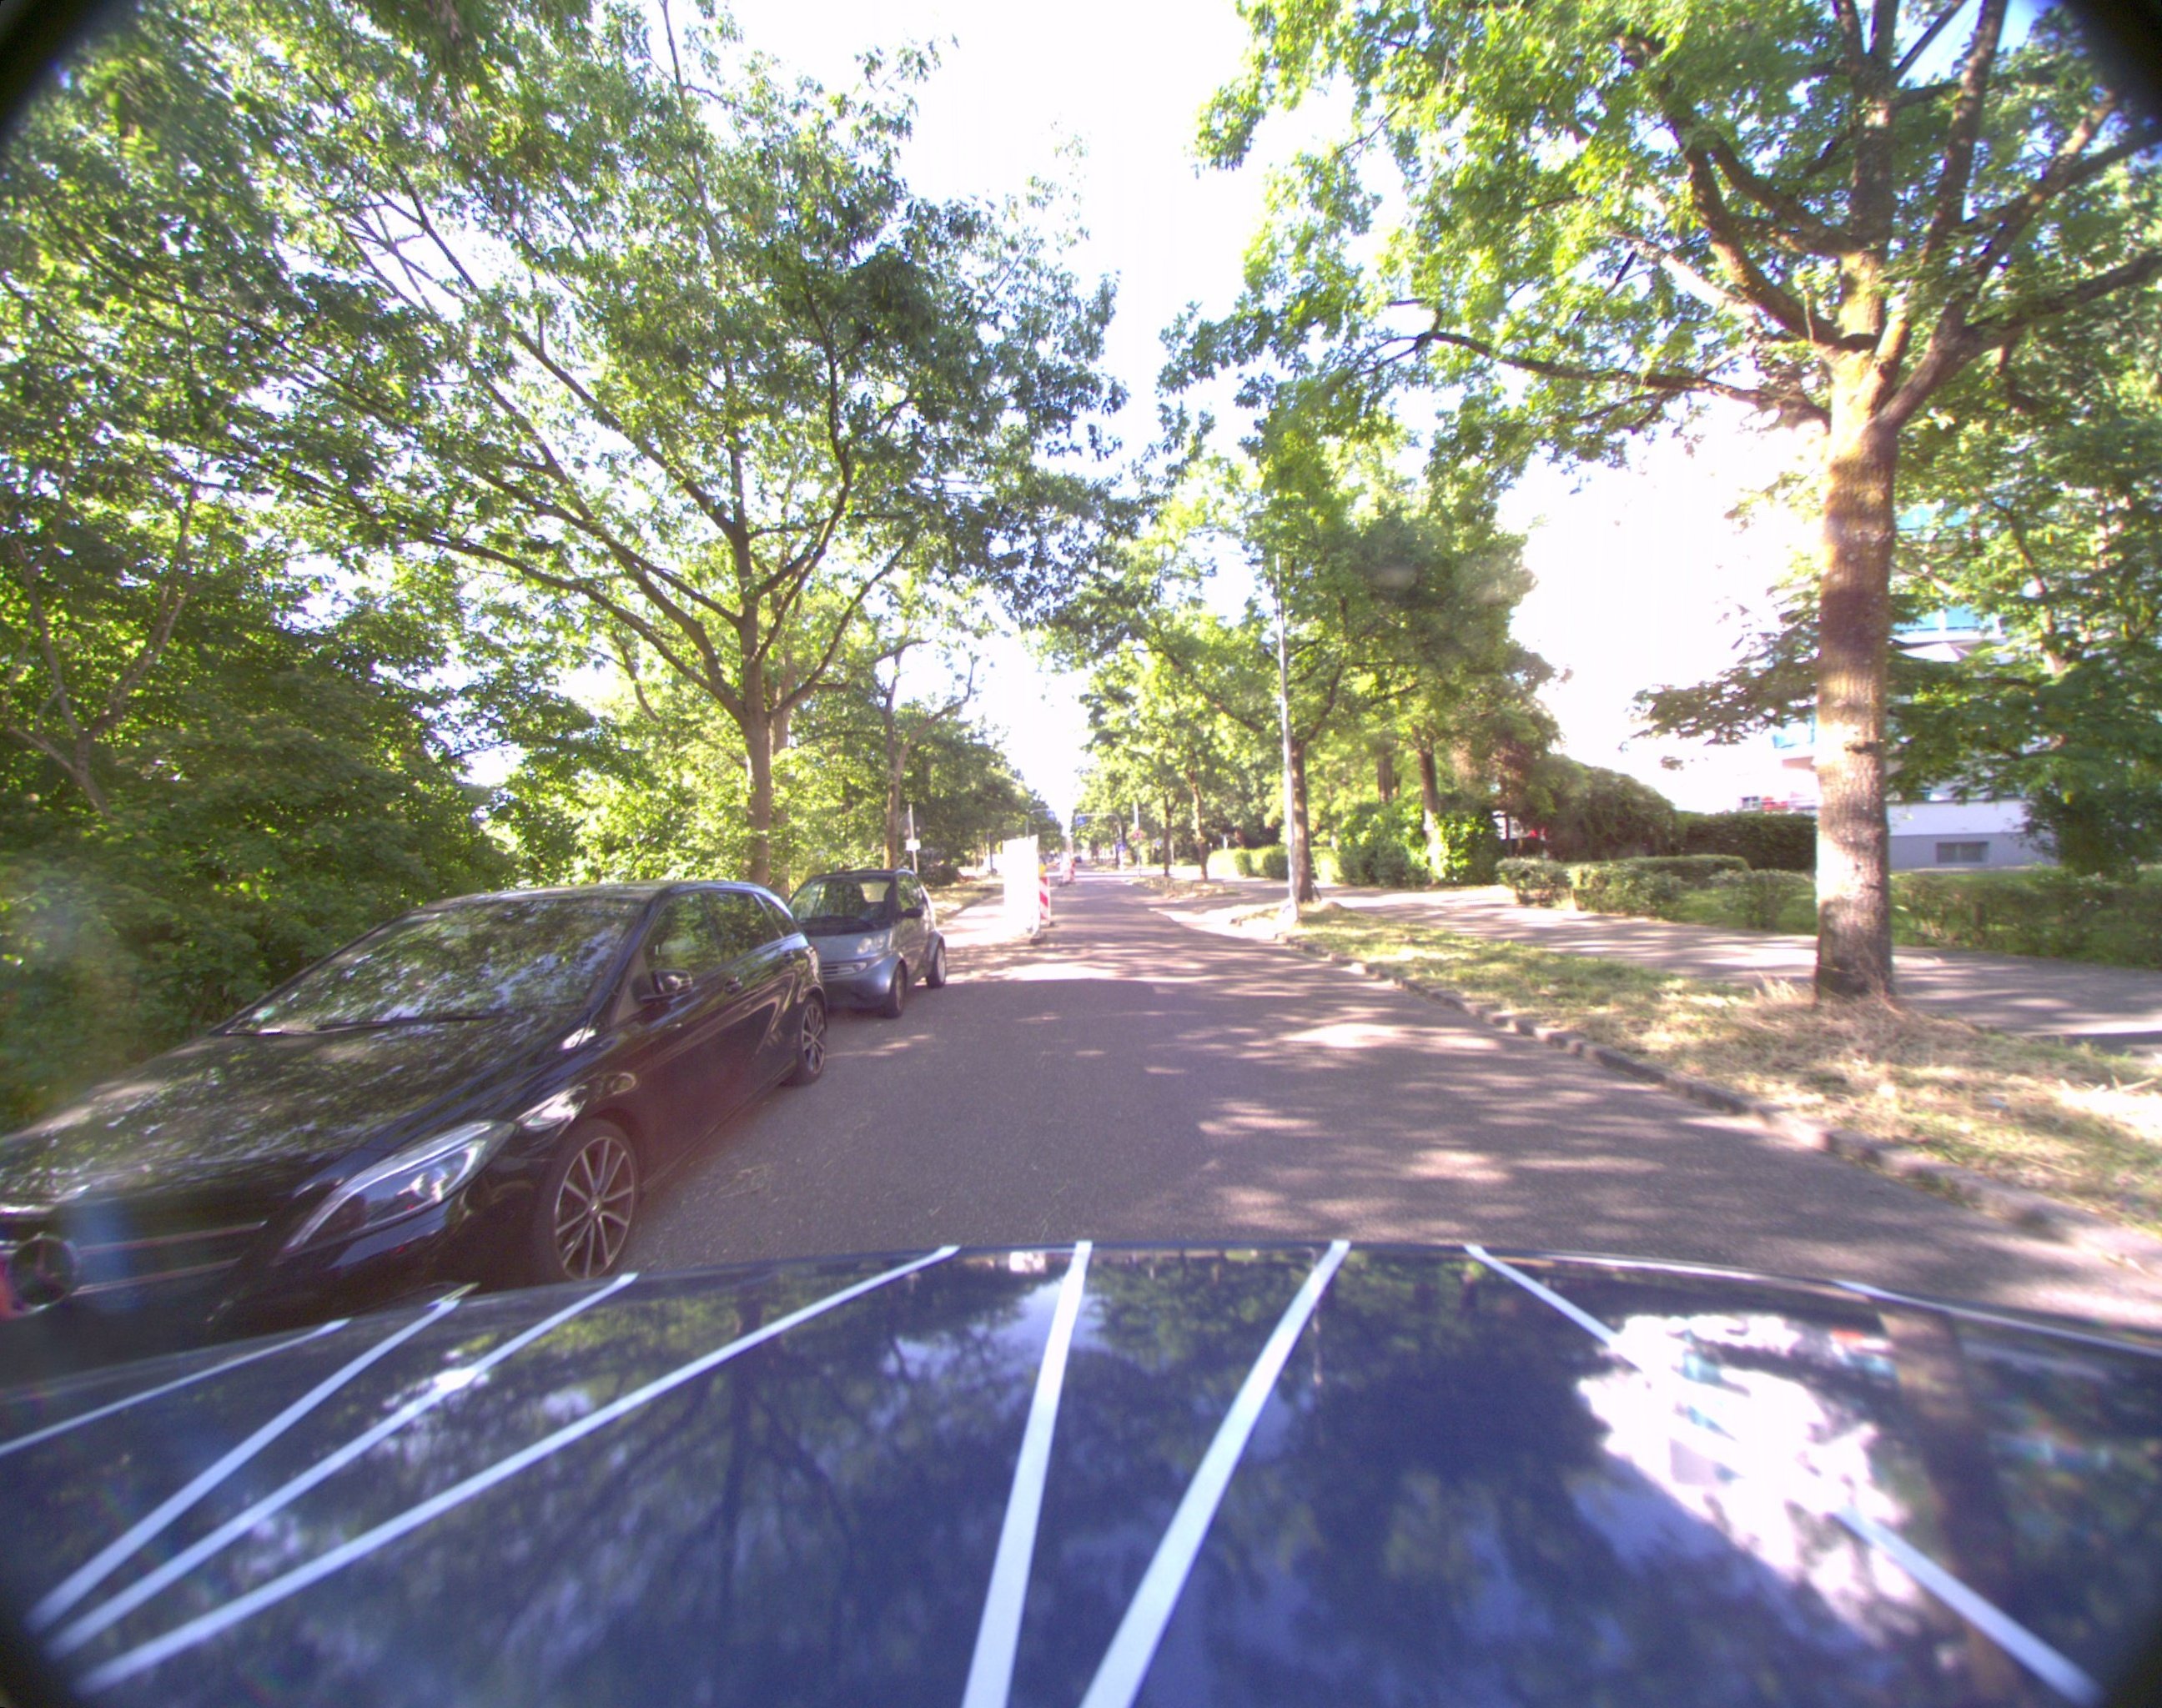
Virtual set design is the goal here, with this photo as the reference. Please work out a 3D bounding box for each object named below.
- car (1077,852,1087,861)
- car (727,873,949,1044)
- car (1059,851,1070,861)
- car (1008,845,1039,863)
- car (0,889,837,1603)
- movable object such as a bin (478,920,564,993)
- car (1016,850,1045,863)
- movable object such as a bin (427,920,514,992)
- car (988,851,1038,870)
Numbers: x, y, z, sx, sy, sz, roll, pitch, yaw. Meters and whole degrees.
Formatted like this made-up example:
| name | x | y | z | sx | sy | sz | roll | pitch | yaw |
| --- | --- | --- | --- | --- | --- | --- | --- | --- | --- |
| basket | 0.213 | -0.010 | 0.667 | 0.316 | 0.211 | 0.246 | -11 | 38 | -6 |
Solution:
| name | x | y | z | sx | sy | sz | roll | pitch | yaw |
| --- | --- | --- | --- | --- | --- | --- | --- | --- | --- |
| car | 0.195 | 0.476 | 165.548 | 1.998 | 1.805 | 4.000 | -3 | 0 | 2 |
| car | -2.570 | 1.044 | 8.647 | 1.497 | 1.500 | 2.677 | -3 | 0 | 2 |
| car | -3.279 | 0.437 | 153.156 | 1.998 | 1.871 | 4.000 | 0 | 1 | 1 |
| car | -8.239 | 0.026 | 109.269 | 4.412 | 2.531 | 1.888 | -1 | 0 | -4 |
| car | -2.731 | 1.065 | 3.902 | 1.716 | 1.500 | 4.148 | -3 | 0 | -3 |
| movable object such as a bin | -7.485 | 1.367 | 10.171 | 0.727 | 0.877 | 0.462 | 0 | 7 | 6 |
| car | -7.573 | 0.369 | 114.538 | 4.245 | 1.993 | 1.565 | -1 | 0 | -4 |
| movable object such as a bin | -8.219 | 1.371 | 10.252 | 0.727 | 0.877 | 0.462 | 0 | 7 | 6 |
| car | -7.282 | 0.676 | 81.855 | 5.269 | 1.993 | 2.000 | -1 | 0 | -2 |
